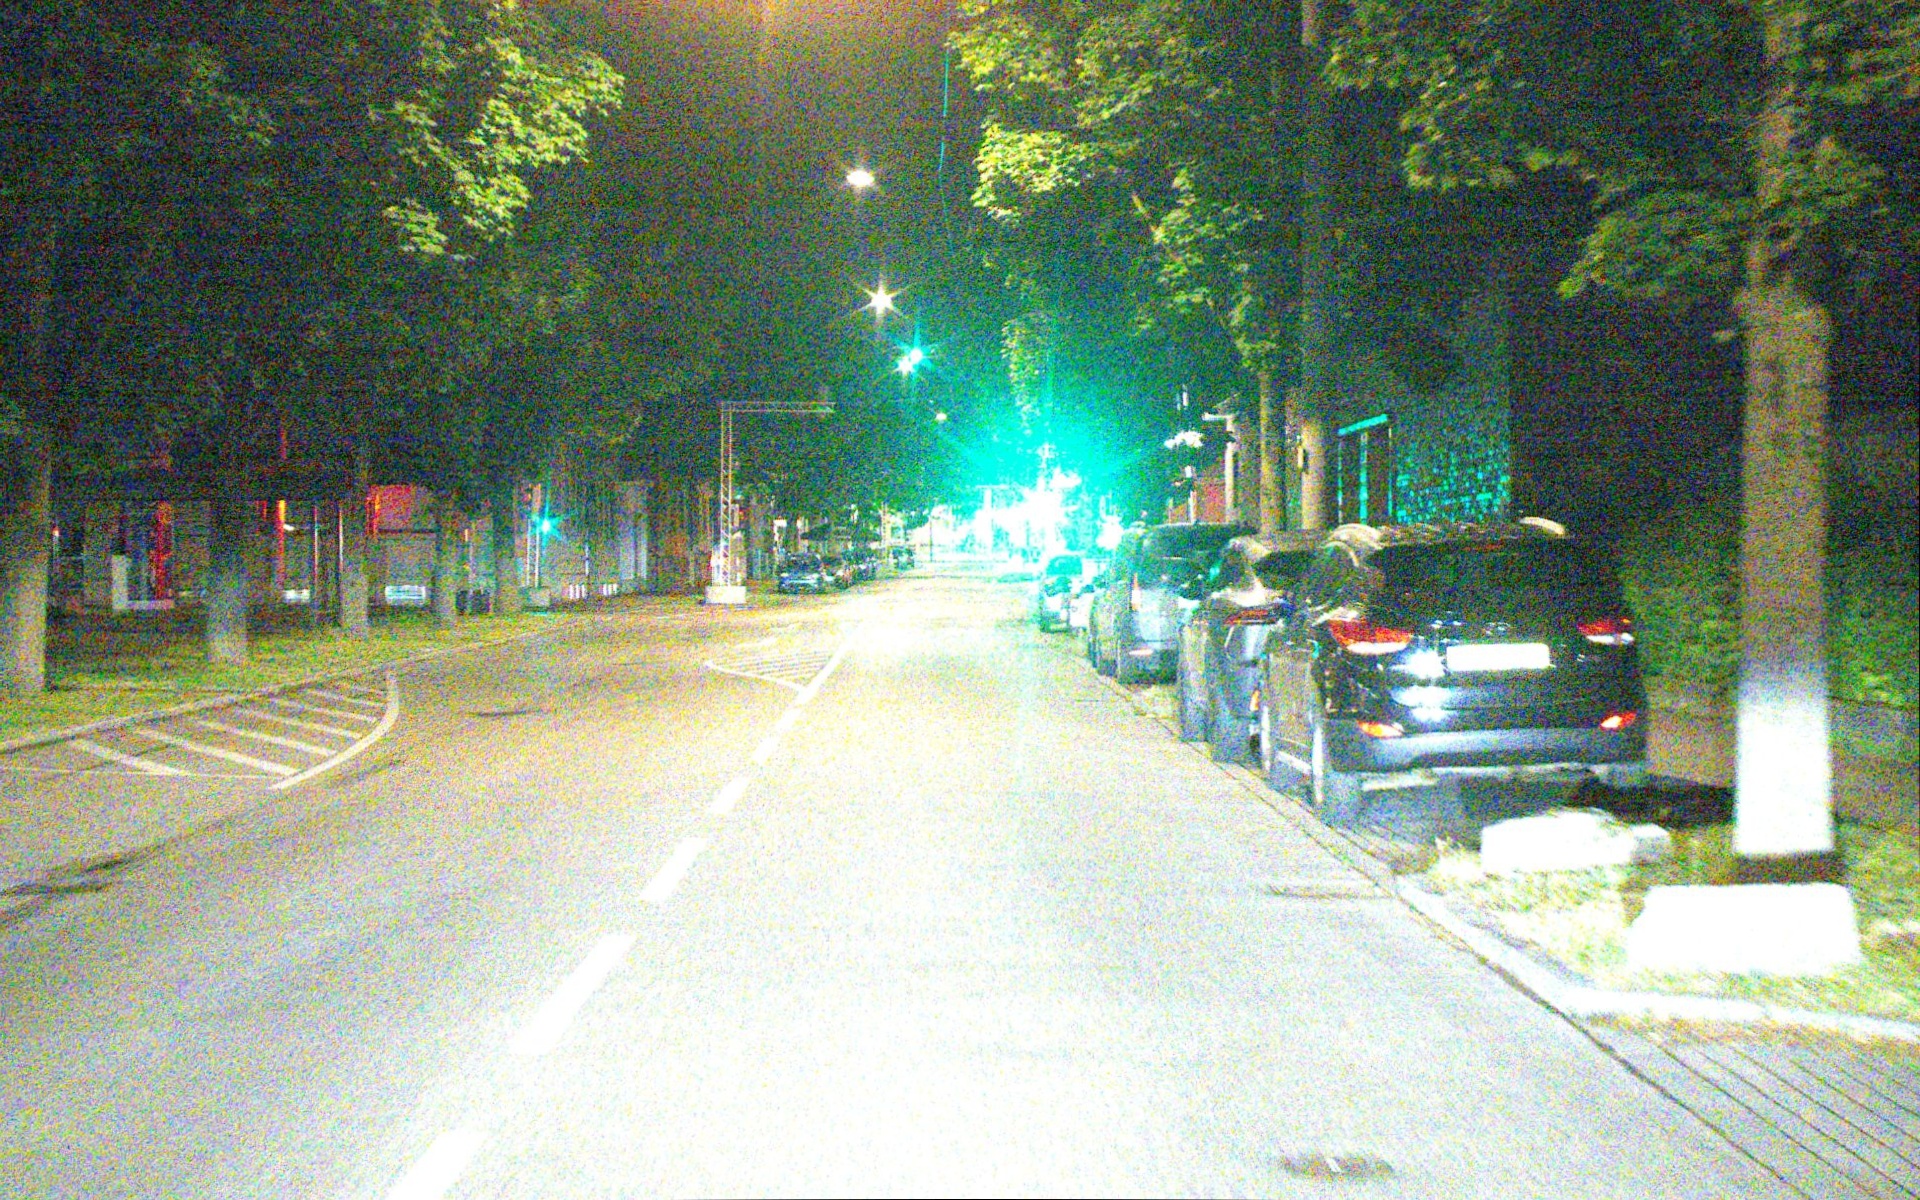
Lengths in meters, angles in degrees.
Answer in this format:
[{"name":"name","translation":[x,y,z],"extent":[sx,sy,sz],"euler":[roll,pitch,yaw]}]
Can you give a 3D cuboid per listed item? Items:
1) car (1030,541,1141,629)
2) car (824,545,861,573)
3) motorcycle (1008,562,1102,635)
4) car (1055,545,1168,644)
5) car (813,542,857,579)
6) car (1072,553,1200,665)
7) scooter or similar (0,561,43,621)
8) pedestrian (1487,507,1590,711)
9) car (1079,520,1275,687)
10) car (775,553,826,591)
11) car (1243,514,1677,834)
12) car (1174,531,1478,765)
[{"name":"car","translation":[2.337,-0.314,64.831],"extent":[1.853,1.585,4.301],"euler":[0,1,-1]},{"name":"car","translation":[-5.842,-2.045,171.218],"extent":[1.740,1.411,3.752],"euler":[0,1,0]},{"name":"motorcycle","translation":[1.682,-0.033,60.769],"extent":[0.637,1.265,2.060],"euler":[1,1,34]},{"name":"car","translation":[2.492,-0.125,57.377],"extent":[1.591,1.529,4.138],"euler":[-2,1,-1]},{"name":"car","translation":[-5.199,-1.655,143.275],"extent":[1.740,1.411,3.753],"euler":[0,3,0]},{"name":"car","translation":[2.339,0.095,46.409],"extent":[1.520,1.391,3.984],"euler":[-1,1,0]},{"name":"scooter or similar","translation":[-16.845,-0.175,59.686],"extent":[1.674,1.004,0.544],"euler":[2,1,2]},{"name":"pedestrian","translation":[4.989,0.071,29.672],"extent":[0.705,1.716,0.821],"euler":[-2,1,0]},{"name":"car","translation":[2.489,0.002,40.450],"extent":[1.771,1.800,4.278],"euler":[-2,1,-3]},{"name":"car","translation":[-5.921,-1.049,128.170],"extent":[1.740,1.411,3.752],"euler":[0,1,0]},{"name":"car","translation":[2.842,0.361,20.435],"extent":[1.853,1.648,4.209],"euler":[-2,1,-1]},{"name":"car","translation":[2.674,0.316,25.996],"extent":[1.853,1.599,4.209],"euler":[-1,1,0]}]
